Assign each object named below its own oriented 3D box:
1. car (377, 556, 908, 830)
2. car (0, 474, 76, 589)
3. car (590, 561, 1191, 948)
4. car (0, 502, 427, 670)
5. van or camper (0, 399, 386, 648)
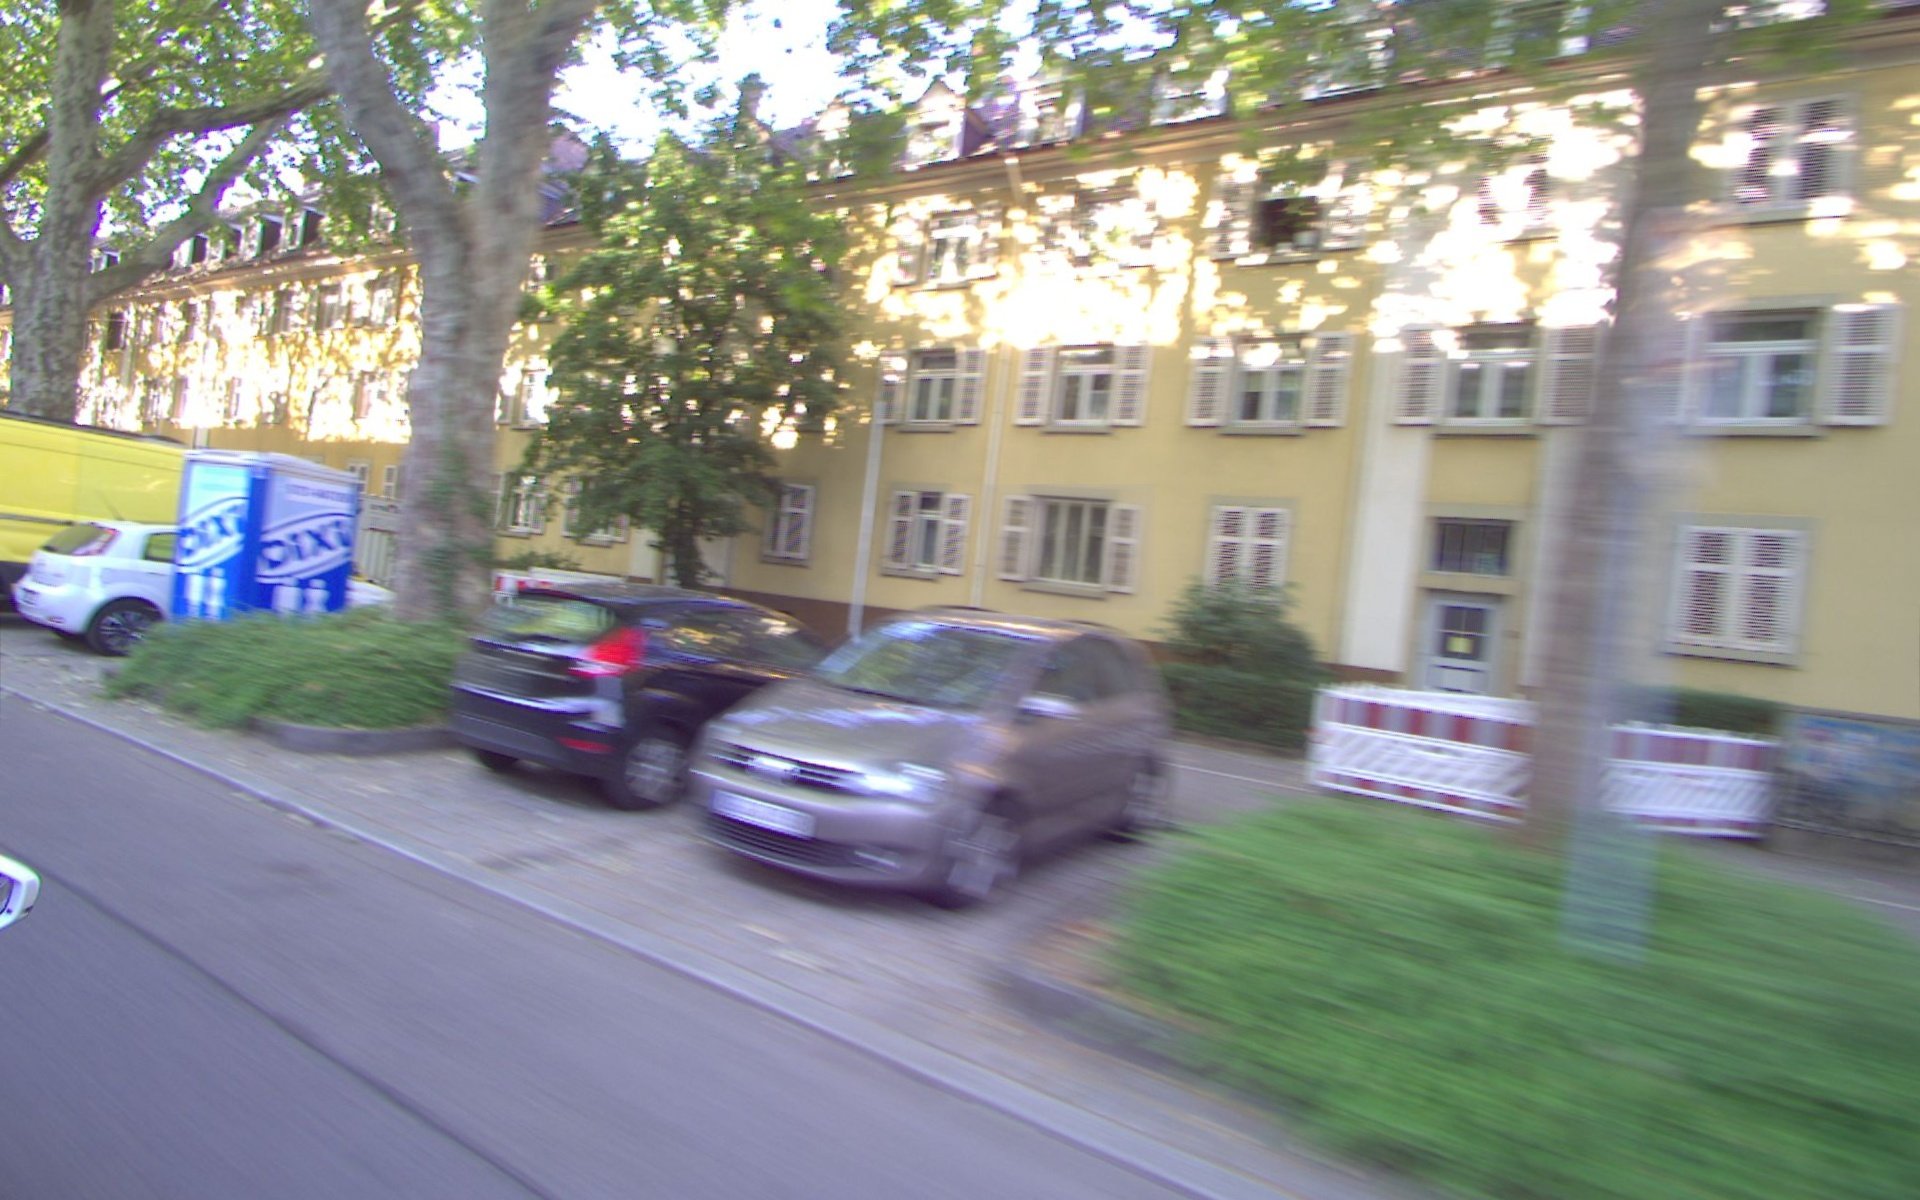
[{"bbox_3d":[-2.134,0.642,7.773,1.707,1.444,3.660,6,-1,28],"label":"car"},{"bbox_3d":[-19.507,-1.534,18.152,2.029,2.037,4.843,7,-1,31],"label":"car"},{"bbox_3d":[-0.074,0.804,6.585,1.800,1.568,4.082,6,-1,31],"label":"car"},{"bbox_3d":[-8.946,-0.086,12.185,1.833,1.507,3.911,7,-1,33],"label":"car"},{"bbox_3d":[-11.378,-0.943,13.400,2.234,2.660,5.933,5,-2,33],"label":"van or camper"}]
